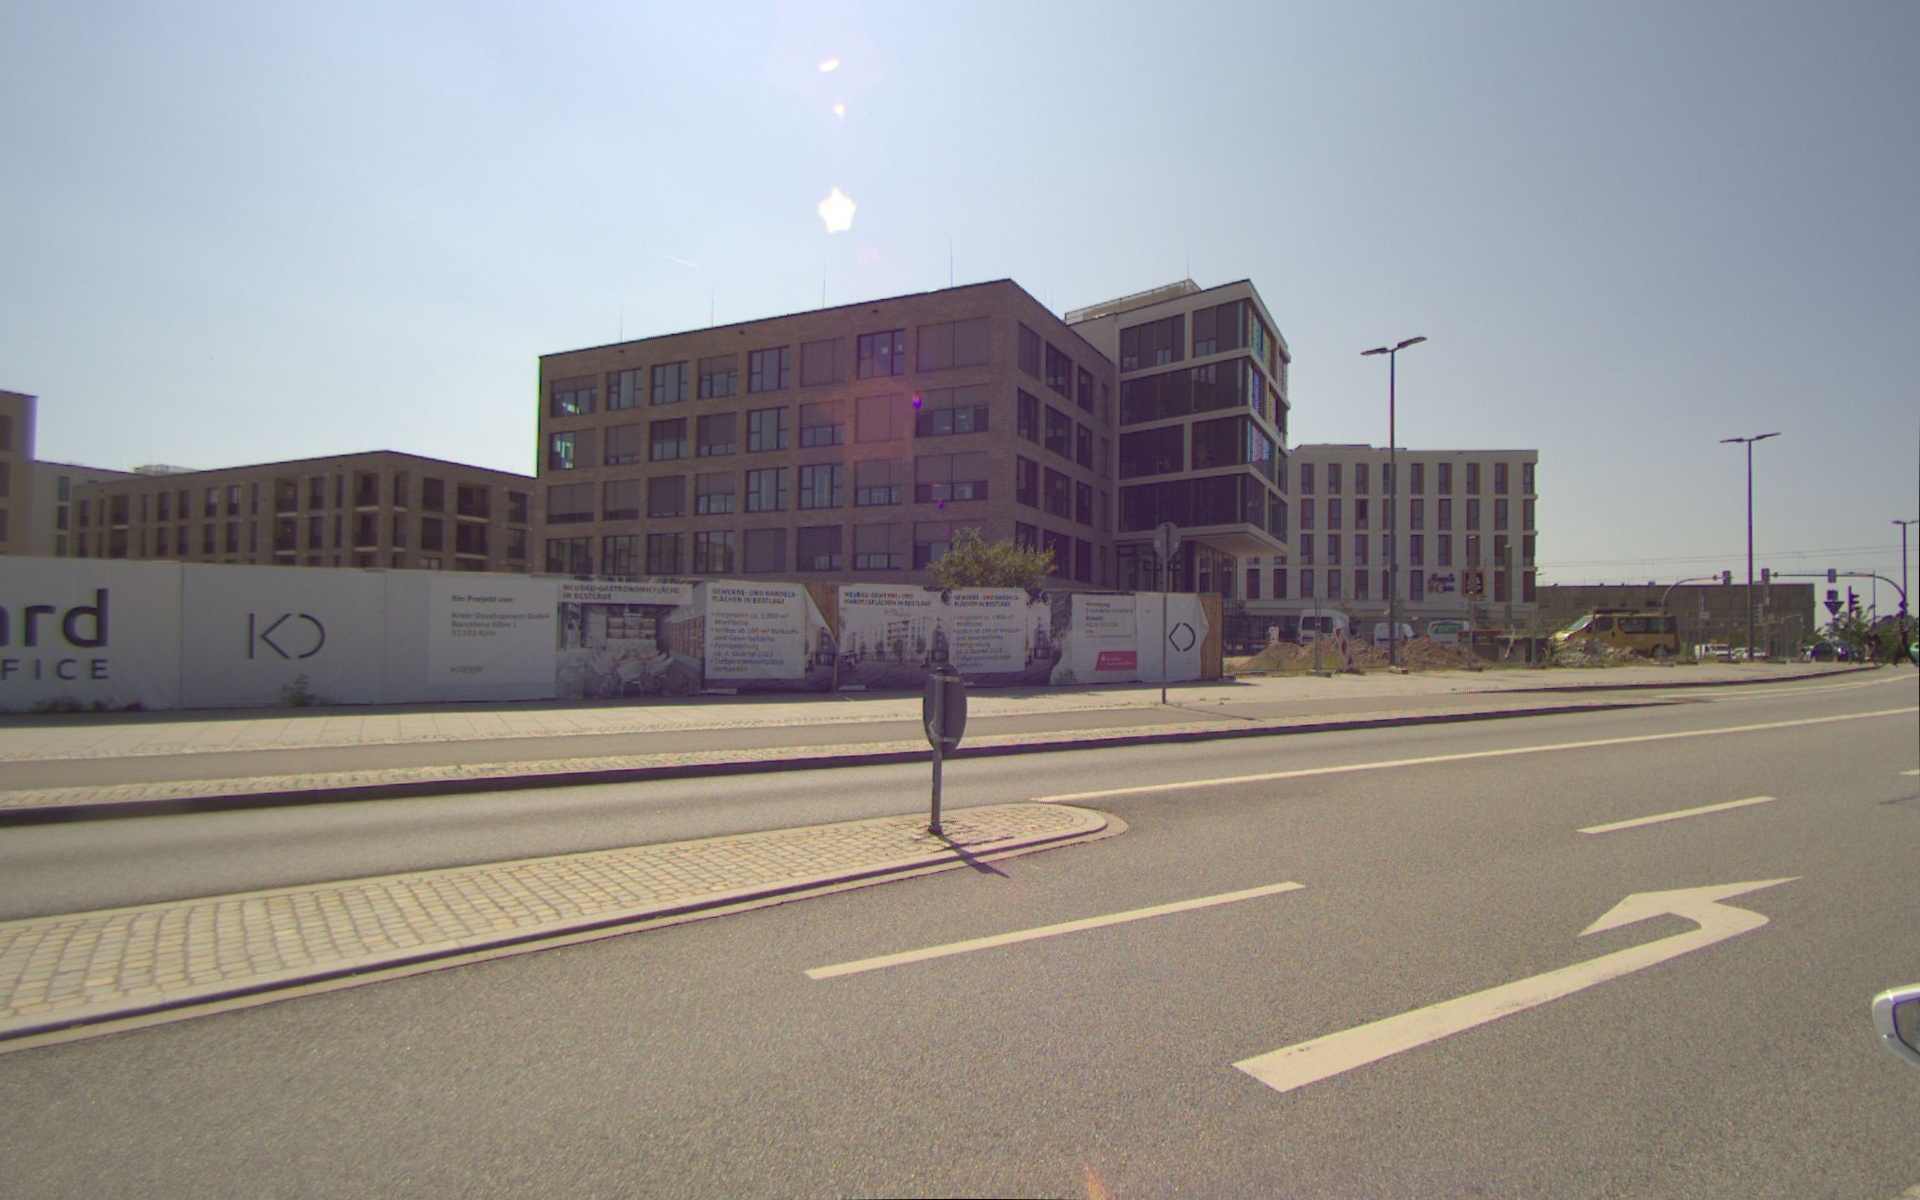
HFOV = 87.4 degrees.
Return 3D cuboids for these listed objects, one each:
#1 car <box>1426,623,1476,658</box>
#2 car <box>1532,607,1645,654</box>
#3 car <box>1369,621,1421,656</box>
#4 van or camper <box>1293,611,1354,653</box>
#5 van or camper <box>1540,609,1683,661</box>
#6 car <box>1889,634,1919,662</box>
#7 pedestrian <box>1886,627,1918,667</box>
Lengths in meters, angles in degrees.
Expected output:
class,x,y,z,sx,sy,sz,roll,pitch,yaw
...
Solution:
class,x,y,z,sx,sy,sz,roll,pitch,yaw
car,25.026,2.029,51.139,1.996,1.694,4.592,0,-2,30
car,28.792,1.385,46.098,3.919,2.040,2.001,1,-1,9
car,22.833,1.992,52.677,1.996,1.694,4.592,0,-2,30
van or camper,19.499,1.698,53.807,2.207,2.040,4.592,4,0,30
van or camper,27.460,1.464,42.517,4.622,1.922,2.001,2,-1,13
car,64.263,3.213,66.191,1.968,1.795,3.986,3,-1,-16
pedestrian,40.275,2.016,42.935,0.819,1.668,0.839,2,-1,-35
